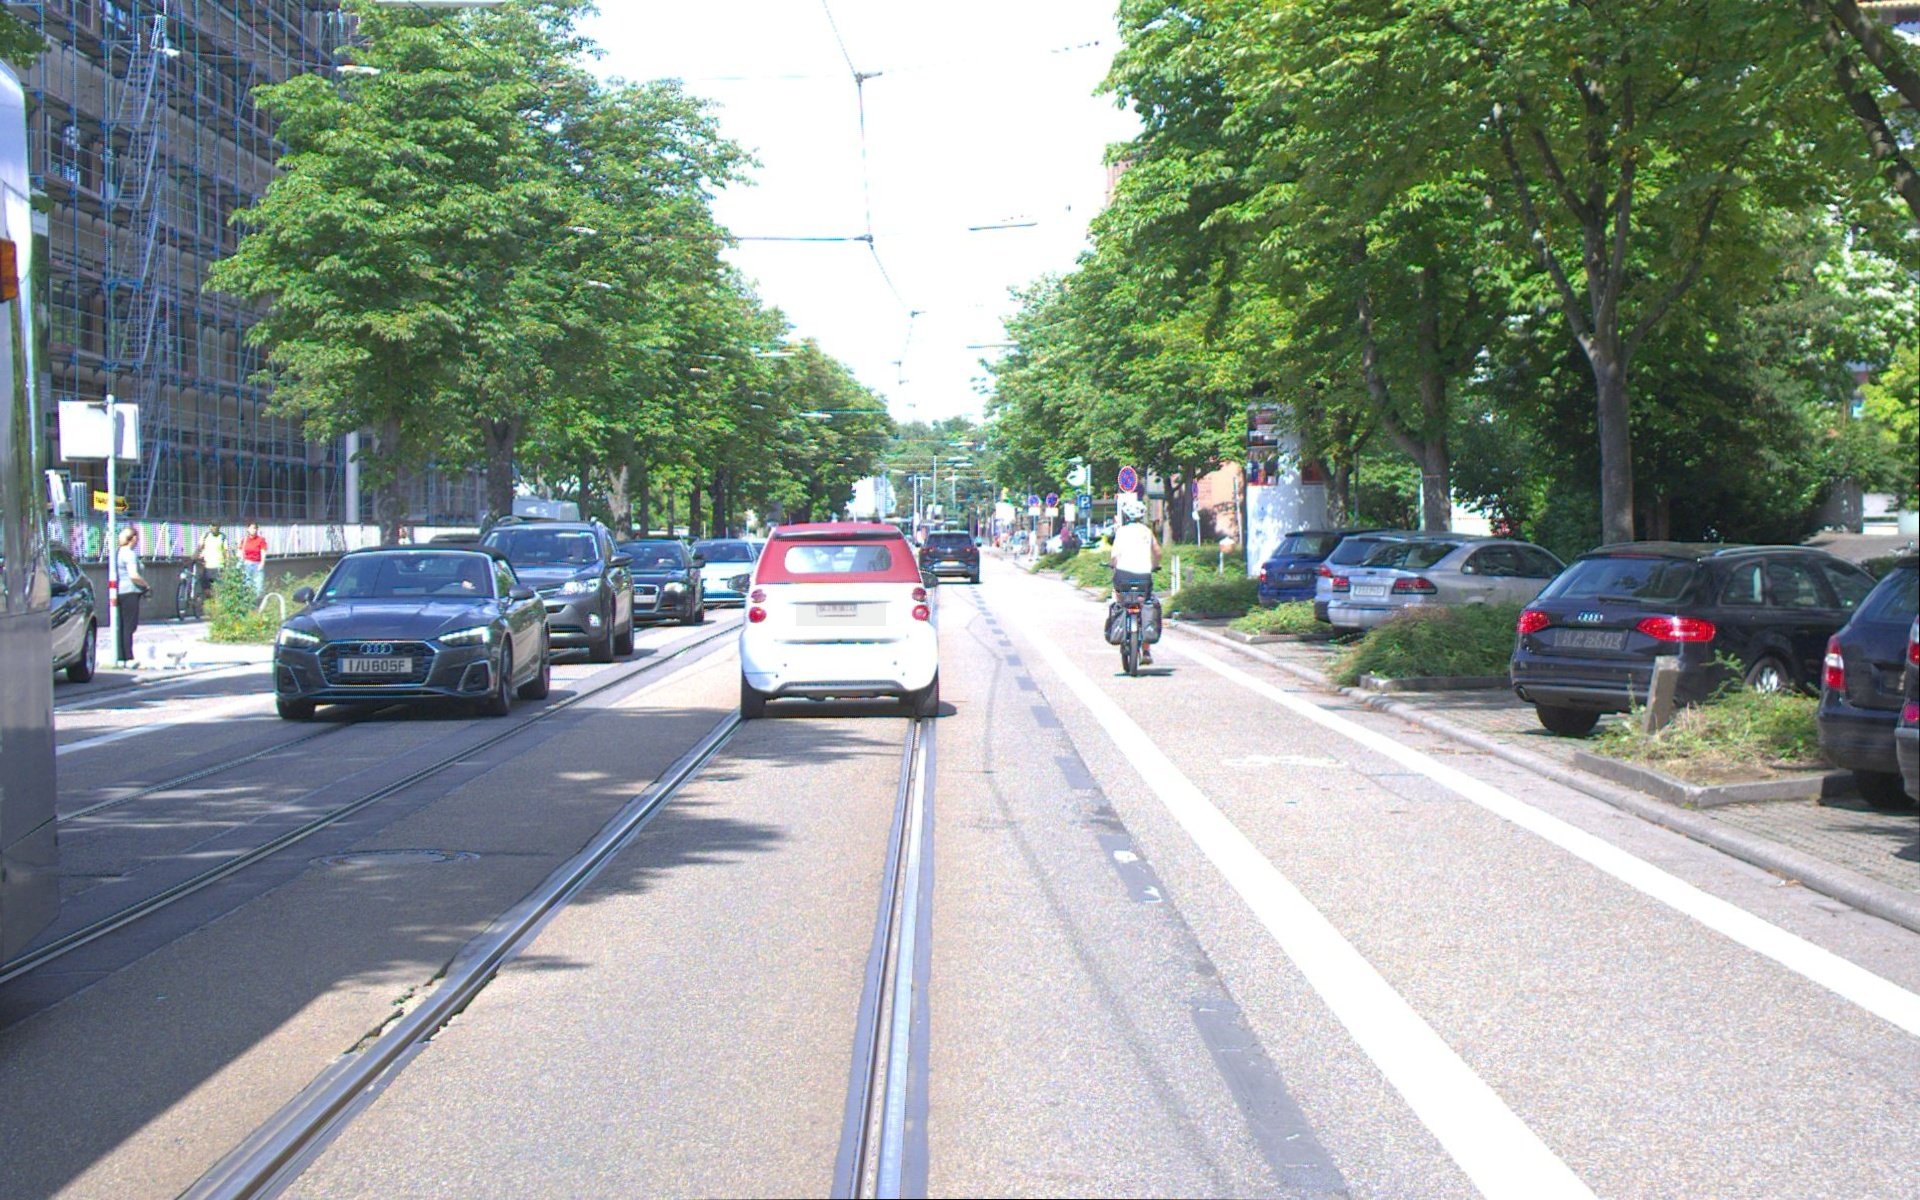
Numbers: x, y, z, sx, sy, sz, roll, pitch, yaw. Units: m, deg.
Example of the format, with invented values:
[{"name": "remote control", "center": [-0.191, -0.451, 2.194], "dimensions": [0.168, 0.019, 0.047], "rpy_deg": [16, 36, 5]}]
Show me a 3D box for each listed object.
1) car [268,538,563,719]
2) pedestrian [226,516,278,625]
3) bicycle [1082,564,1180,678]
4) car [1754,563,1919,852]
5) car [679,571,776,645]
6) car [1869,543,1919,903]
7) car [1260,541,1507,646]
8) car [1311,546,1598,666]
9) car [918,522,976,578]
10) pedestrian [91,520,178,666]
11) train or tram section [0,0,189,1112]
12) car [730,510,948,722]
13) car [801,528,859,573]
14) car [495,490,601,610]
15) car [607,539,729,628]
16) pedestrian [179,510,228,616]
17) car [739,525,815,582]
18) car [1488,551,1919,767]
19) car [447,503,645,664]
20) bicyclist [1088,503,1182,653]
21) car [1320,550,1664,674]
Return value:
[{"name": "car", "center": [-4.459, 0.178, 28.764], "dimensions": [1.799, 1.383, 4.426], "rpy_deg": [0, 1, -1]}, {"name": "pedestrian", "center": [-12.209, -0.516, 59.317], "dimensions": [0.707, 1.825, 0.662], "rpy_deg": [3, 2, -6]}, {"name": "bicycle", "center": [1.793, 0.200, 35.712], "dimensions": [0.875, 1.122, 2.135], "rpy_deg": [2, 1, 6]}, {"name": "car", "center": [6.325, 0.539, 19.213], "dimensions": [4.065, 1.438, 1.725], "rpy_deg": [-1, 4, -44]}, {"name": "car", "center": [-4.806, 0.150, 71.463], "dimensions": [1.773, 1.411, 3.852], "rpy_deg": [-2, 1, -1]}, {"name": "car", "center": [6.162, 0.576, 15.840], "dimensions": [3.989, 1.569, 1.904], "rpy_deg": [1, 1, -42]}, {"name": "car", "center": [6.451, -0.122, 52.162], "dimensions": [1.615, 1.481, 3.990], "rpy_deg": [0, 1, 44]}, {"name": "car", "center": [6.561, 0.072, 45.449], "dimensions": [3.794, 1.469, 1.652], "rpy_deg": [0, 2, -41]}, {"name": "car", "center": [-0.383, -1.474, 100.836], "dimensions": [1.665, 1.619, 3.621], "rpy_deg": [0, 1, -1]}, {"name": "pedestrian", "center": [-9.420, -0.080, 39.238], "dimensions": [0.725, 1.631, 0.692], "rpy_deg": [1, 1, -34]}, {"name": "train or tram section", "center": [-3.867, -0.239, 4.122], "dimensions": [2.652, 3.344, 14.109], "rpy_deg": [-2, 1, 0]}, {"name": "car", "center": [-0.952, 0.086, 28.314], "dimensions": [1.665, 1.619, 3.621], "rpy_deg": [1, 1, -1]}, {"name": "car", "center": [-4.422, -1.689, 117.458], "dimensions": [1.800, 1.503, 4.536], "rpy_deg": [1, 1, 0]}, {"name": "car", "center": [-9.462, -1.143, 79.307], "dimensions": [1.769, 2.630, 5.322], "rpy_deg": [2, 1, 0]}, {"name": "car", "center": [-4.723, -0.282, 56.074], "dimensions": [1.723, 1.371, 4.000], "rpy_deg": [-1, 1, -1]}, {"name": "pedestrian", "center": [-13.050, -0.637, 59.292], "dimensions": [0.707, 1.787, 0.662], "rpy_deg": [2, 0, -6]}, {"name": "car", "center": [-4.577, -1.158, 86.546], "dimensions": [1.686, 1.401, 4.227], "rpy_deg": [0, 1, 0]}, {"name": "car", "center": [6.149, 0.428, 25.785], "dimensions": [2.030, 1.437, 4.524], "rpy_deg": [2, 1, 44]}, {"name": "car", "center": [-4.769, -0.204, 40.120], "dimensions": [1.825, 1.721, 4.392], "rpy_deg": [2, 1, -1]}, {"name": "bicyclist", "center": [1.836, -0.232, 35.930], "dimensions": [0.890, 1.523, 1.085], "rpy_deg": [2, 0, 6]}, {"name": "car", "center": [6.582, 0.121, 42.338], "dimensions": [4.230, 1.415, 1.723], "rpy_deg": [0, 2, -38]}]
